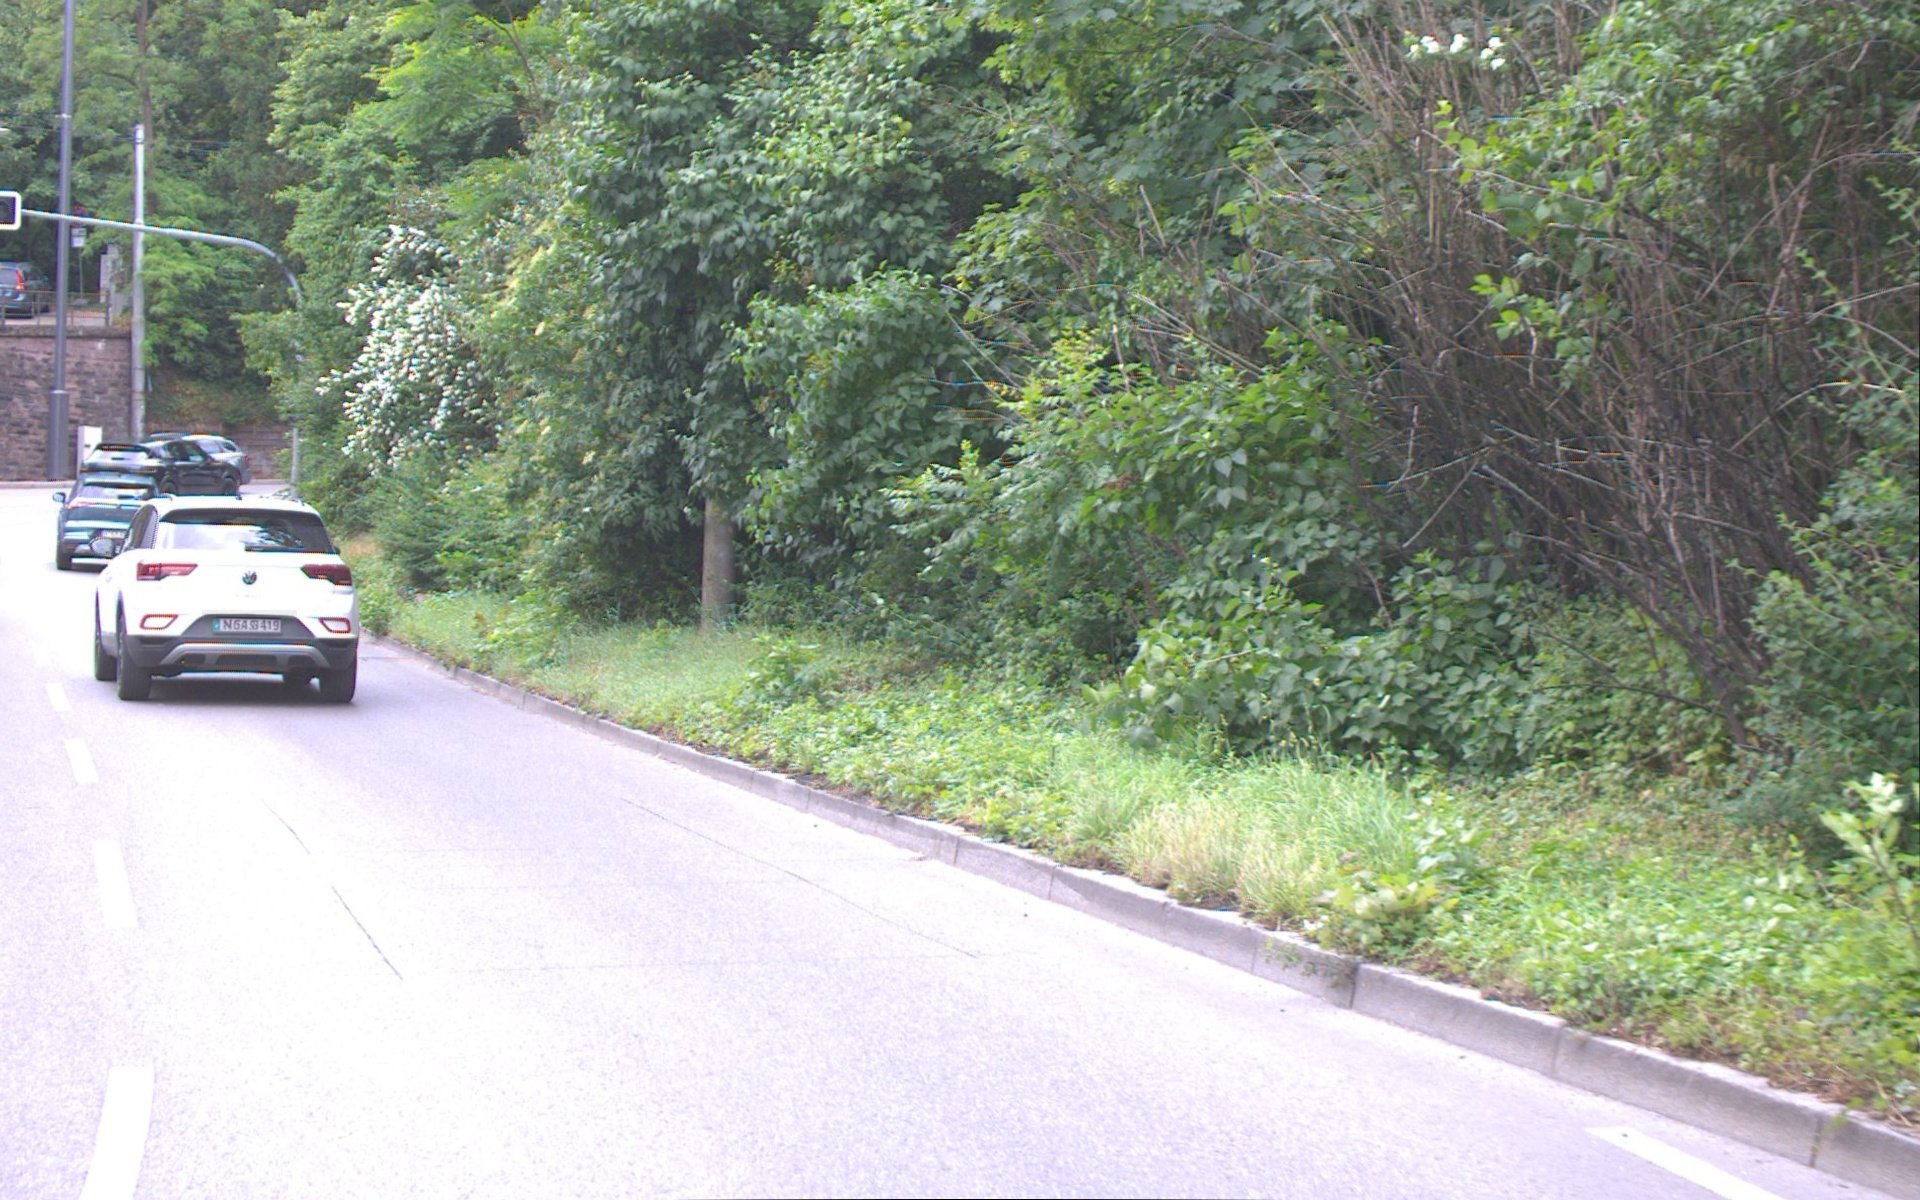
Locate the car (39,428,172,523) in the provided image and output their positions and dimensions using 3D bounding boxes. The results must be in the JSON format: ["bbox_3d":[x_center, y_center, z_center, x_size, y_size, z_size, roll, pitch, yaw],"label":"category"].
[{"bbox_3d":[-18.823,-2.729,75.927,2.189,2.006,4.001,-1,2,-5],"label":"car"}]

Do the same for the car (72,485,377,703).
[{"bbox_3d":[-5.858,-0.078,27.053,1.864,1.551,3.896,1,1,-19],"label":"car"}]

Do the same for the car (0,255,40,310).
[{"bbox_3d":[-27.556,-9.067,97.945,1.993,1.480,4.002,1,6,-6],"label":"car"}]

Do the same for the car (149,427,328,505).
[{"bbox_3d":[-17.818,-3.300,85.053,1.949,1.687,4.279,5,3,28],"label":"car"}]

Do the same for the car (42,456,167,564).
[{"bbox_3d":[-13.852,-1.465,55.557,1.860,1.626,3.960,-2,2,-15],"label":"car"}]
